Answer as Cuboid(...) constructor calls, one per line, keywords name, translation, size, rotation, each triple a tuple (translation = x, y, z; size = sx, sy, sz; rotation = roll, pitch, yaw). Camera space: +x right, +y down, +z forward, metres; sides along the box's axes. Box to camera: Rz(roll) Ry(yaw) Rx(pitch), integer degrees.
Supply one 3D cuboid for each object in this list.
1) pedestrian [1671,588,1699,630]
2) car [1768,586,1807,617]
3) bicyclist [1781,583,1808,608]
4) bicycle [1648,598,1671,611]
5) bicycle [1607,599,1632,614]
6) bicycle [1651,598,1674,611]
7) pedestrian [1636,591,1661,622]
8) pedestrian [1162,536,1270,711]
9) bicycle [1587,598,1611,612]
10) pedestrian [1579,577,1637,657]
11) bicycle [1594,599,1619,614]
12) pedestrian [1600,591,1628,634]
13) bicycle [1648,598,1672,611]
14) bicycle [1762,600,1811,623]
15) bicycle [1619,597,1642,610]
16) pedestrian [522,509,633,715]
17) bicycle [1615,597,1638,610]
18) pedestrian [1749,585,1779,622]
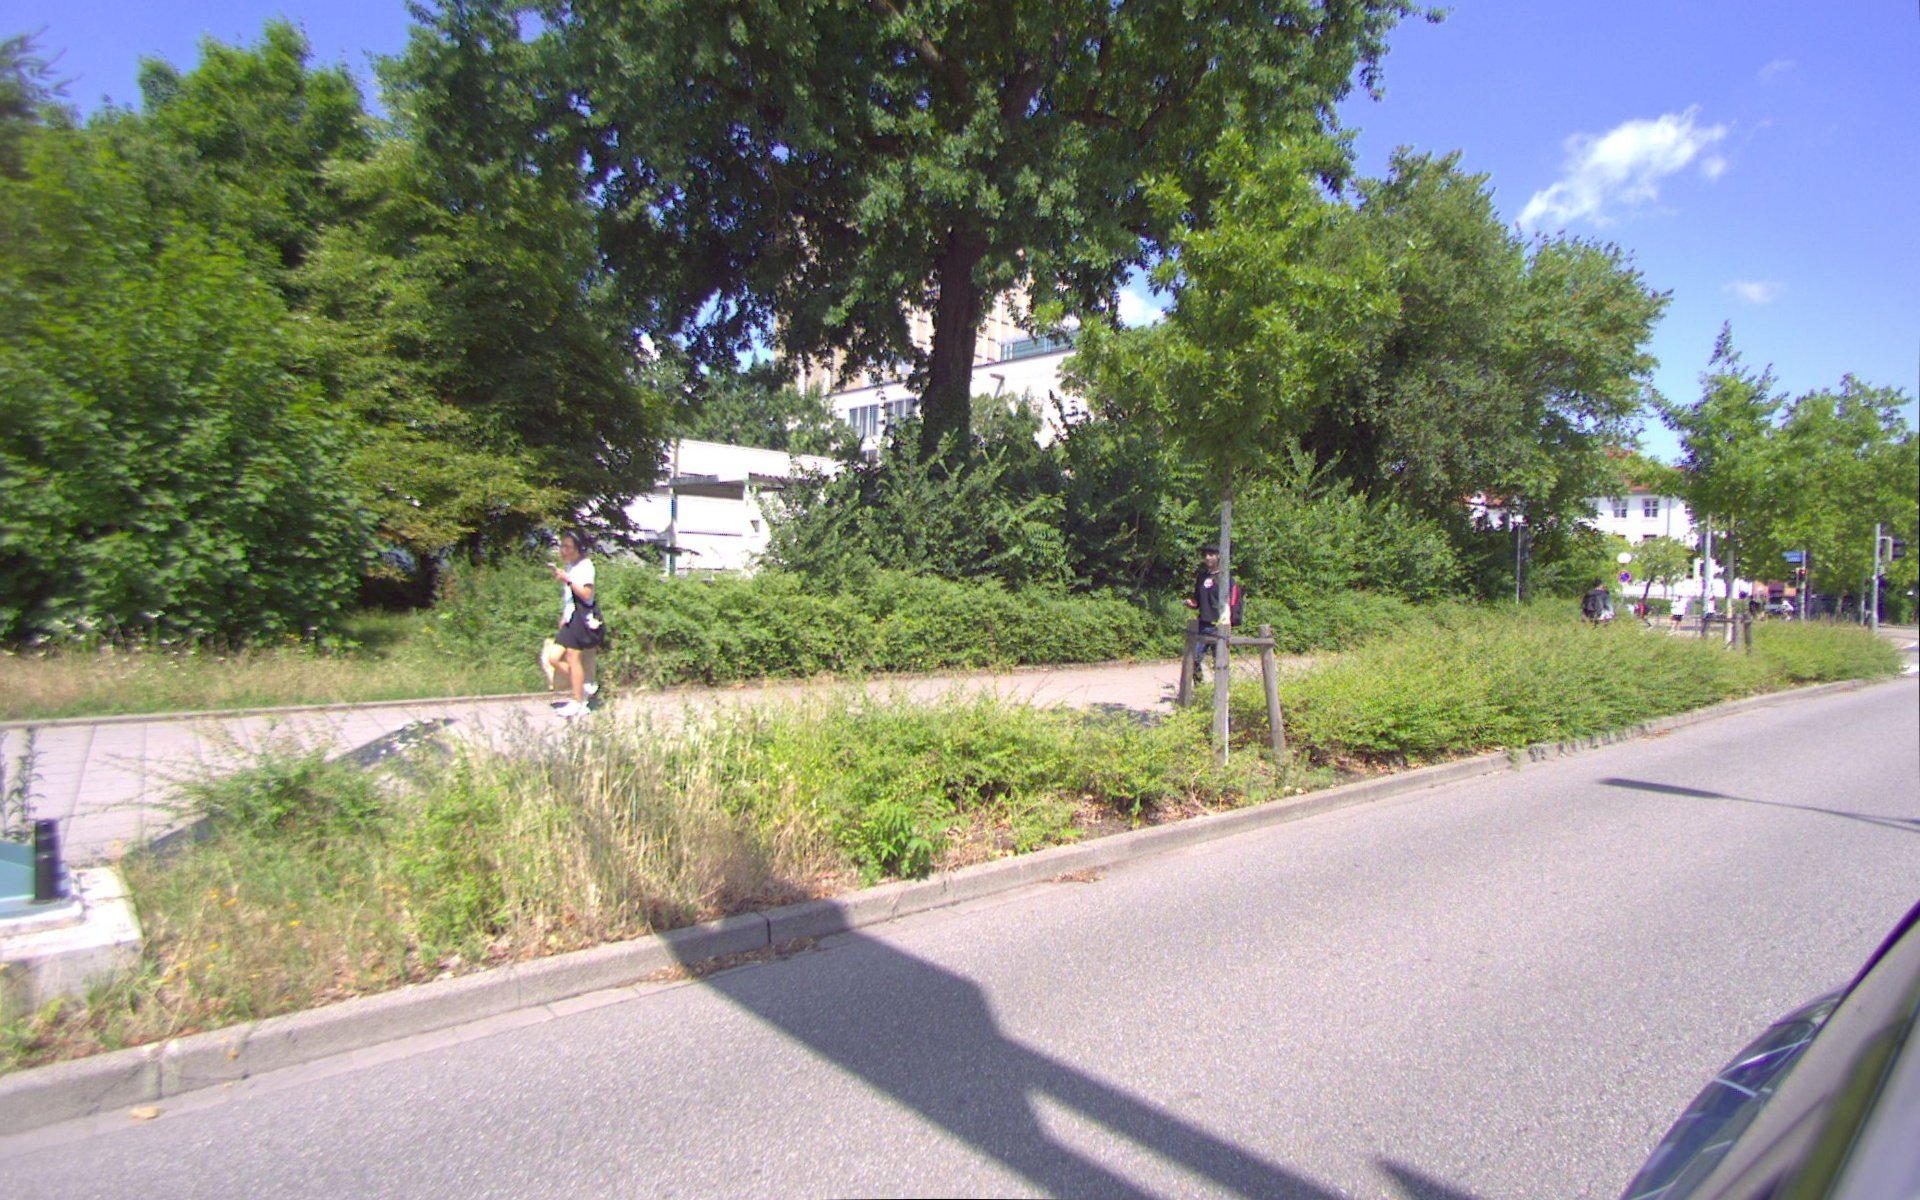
Cuboid(name="pedestrian", translation=(33.891, 0.409, 47.302), size=(0.956, 1.896, 0.877), rotation=(0, 1, -44))
Cuboid(name="car", translation=(59.012, 0.095, 72.143), size=(1.992, 2.080, 4.166), rotation=(2, 1, 41))
Cuboid(name="bicyclist", translation=(49.490, -0.290, 60.022), size=(0.956, 1.462, 1.074), rotation=(0, 1, -43))
Cuboid(name="bicycle", translation=(53.839, 0.338, 77.929), size=(1.425, 0.963, 0.346), rotation=(2, 1, 45))
Cuboid(name="bicycle", translation=(45.105, 0.464, 69.249), size=(1.368, 0.963, 0.346), rotation=(2, 1, 45))
Cuboid(name="bicycle", translation=(54.598, 0.327, 78.692), size=(1.425, 0.963, 0.346), rotation=(2, 1, 45))
Cuboid(name="pedestrian", translation=(37.098, 0.339, 54.545), size=(1.057, 1.617, 0.960), rotation=(2, 1, 35))
Cuboid(name="pedestrian", translation=(2.678, 0.223, 10.606), size=(0.822, 1.743, 0.718), rotation=(0, 1, -39))
Cuboid(name="bicycle", translation=(46.363, 0.358, 73.414), size=(1.408, 0.963, 0.346), rotation=(2, 1, 45))
Cuboid(name="pedestrian", translation=(14.461, 0.361, 22.593), size=(0.913, 1.743, 0.815), rotation=(0, 1, -39))
Cuboid(name="bicycle", translation=(43.888, 0.461, 68.731), size=(1.368, 0.963, 0.346), rotation=(2, 1, 45))
Cuboid(name="pedestrian", translation=(25.800, 0.482, 39.942), size=(0.632, 1.646, 0.636), rotation=(1, 1, -5))
Cuboid(name="bicycle", translation=(54.165, 0.331, 78.326), size=(1.425, 0.963, 0.346), rotation=(2, 1, 45))
Cuboid(name="bicycle", translation=(49.230, 0.670, 60.280), size=(0.870, 1.267, 2.161), rotation=(0, 1, -43))
Cuboid(name="bicycle", translation=(52.741, 0.269, 79.622), size=(1.425, 0.963, 0.346), rotation=(2, 1, 45))
Cuboid(name="pedestrian", translation=(-3.441, 0.091, 9.098), size=(0.733, 1.743, 0.724), rotation=(0, 1, -39))
Cuboid(name="bicycle", translation=(52.208, 0.272, 79.237), size=(1.425, 0.963, 0.346), rotation=(2, 1, 45))
Cuboid(name="pedestrian", translation=(44.124, 0.181, 55.550), size=(0.953, 1.950, 1.033), rotation=(1, 1, -32))
